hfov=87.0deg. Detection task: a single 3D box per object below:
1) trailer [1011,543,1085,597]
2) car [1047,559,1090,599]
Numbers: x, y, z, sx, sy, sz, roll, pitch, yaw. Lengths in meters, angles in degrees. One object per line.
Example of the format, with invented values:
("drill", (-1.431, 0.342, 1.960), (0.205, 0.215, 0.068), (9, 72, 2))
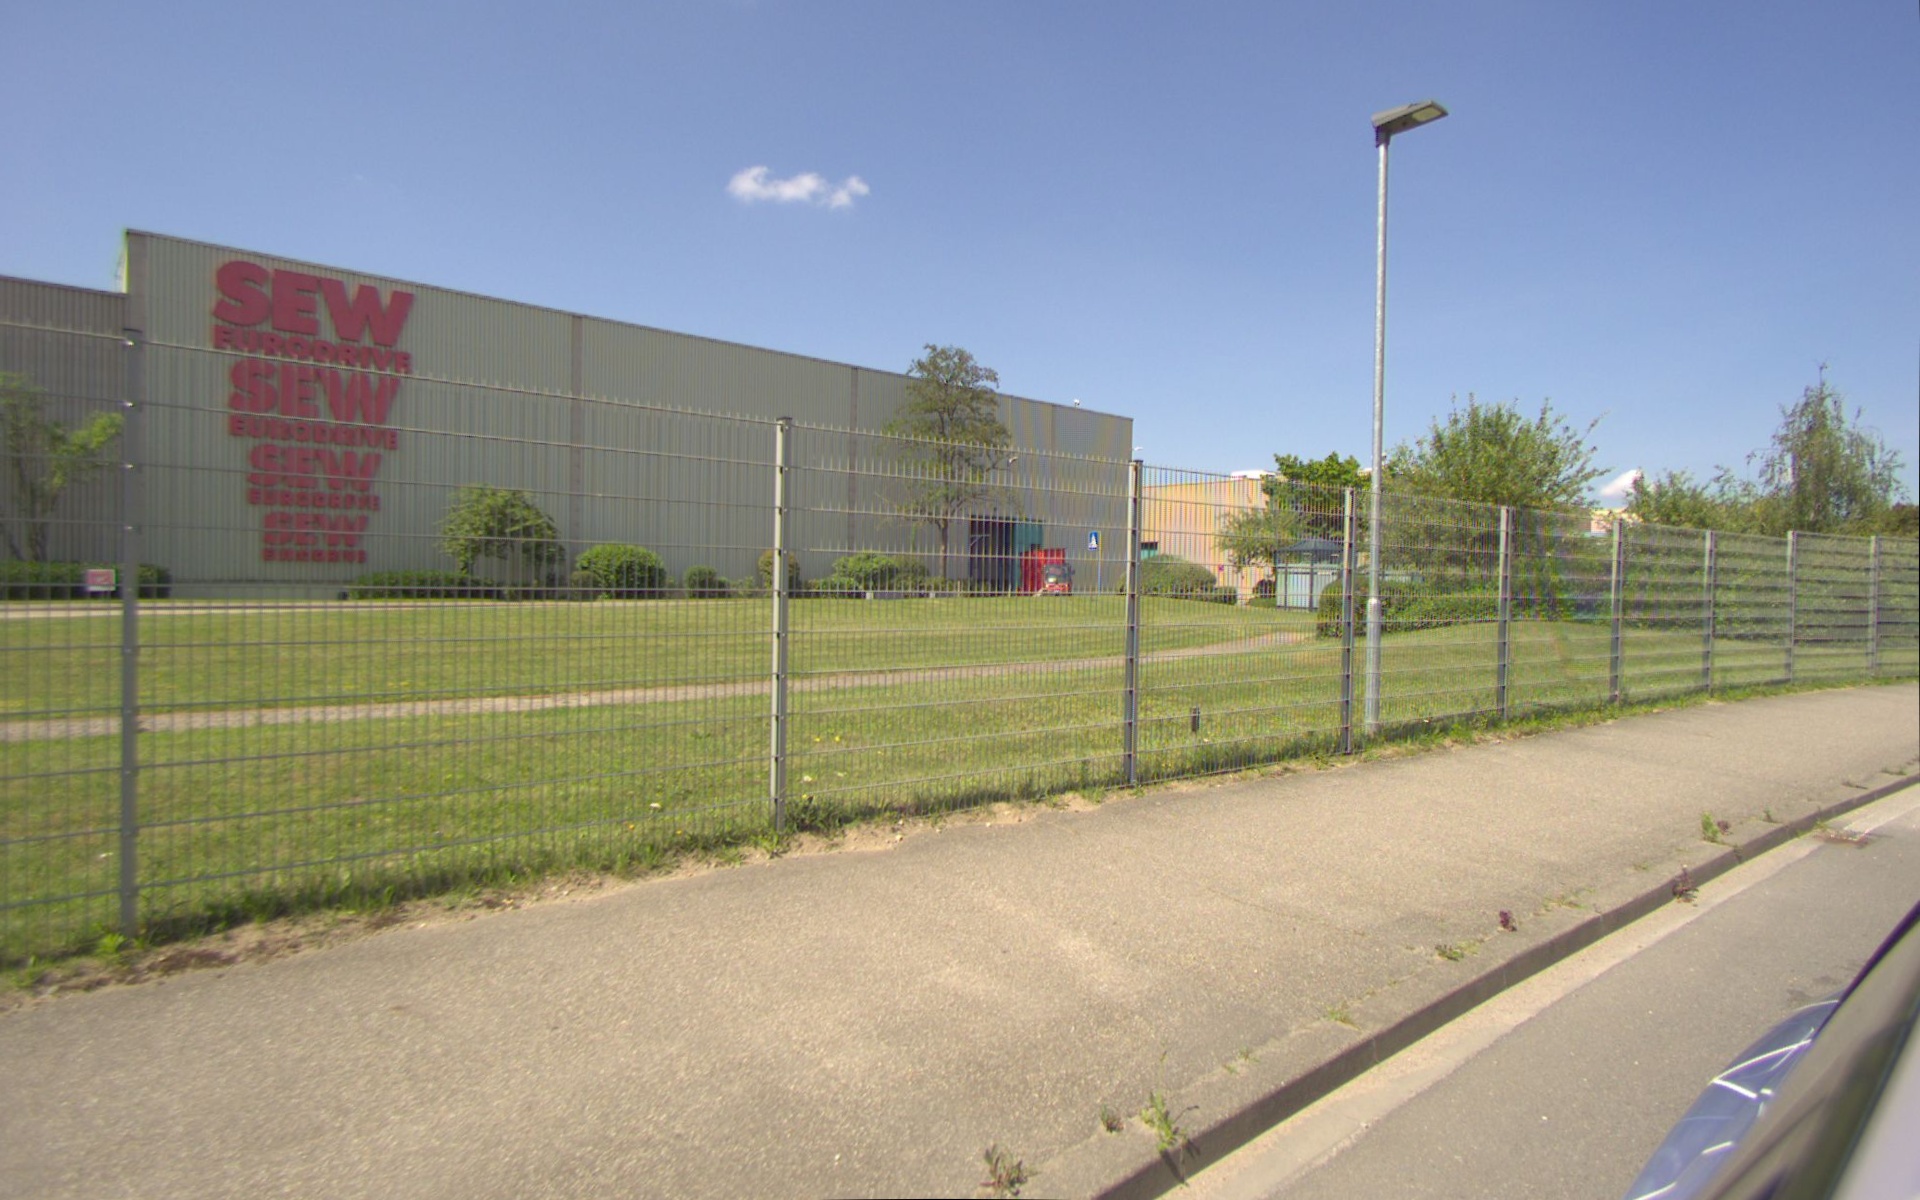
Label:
("trailer", (4.664, -1.641, 54.787), (1.958, 2.755, 6.002), (0, 2, -16))
("car", (5.307, -1.045, 49.925), (1.866, 1.838, 3.998), (1, 2, 2))
